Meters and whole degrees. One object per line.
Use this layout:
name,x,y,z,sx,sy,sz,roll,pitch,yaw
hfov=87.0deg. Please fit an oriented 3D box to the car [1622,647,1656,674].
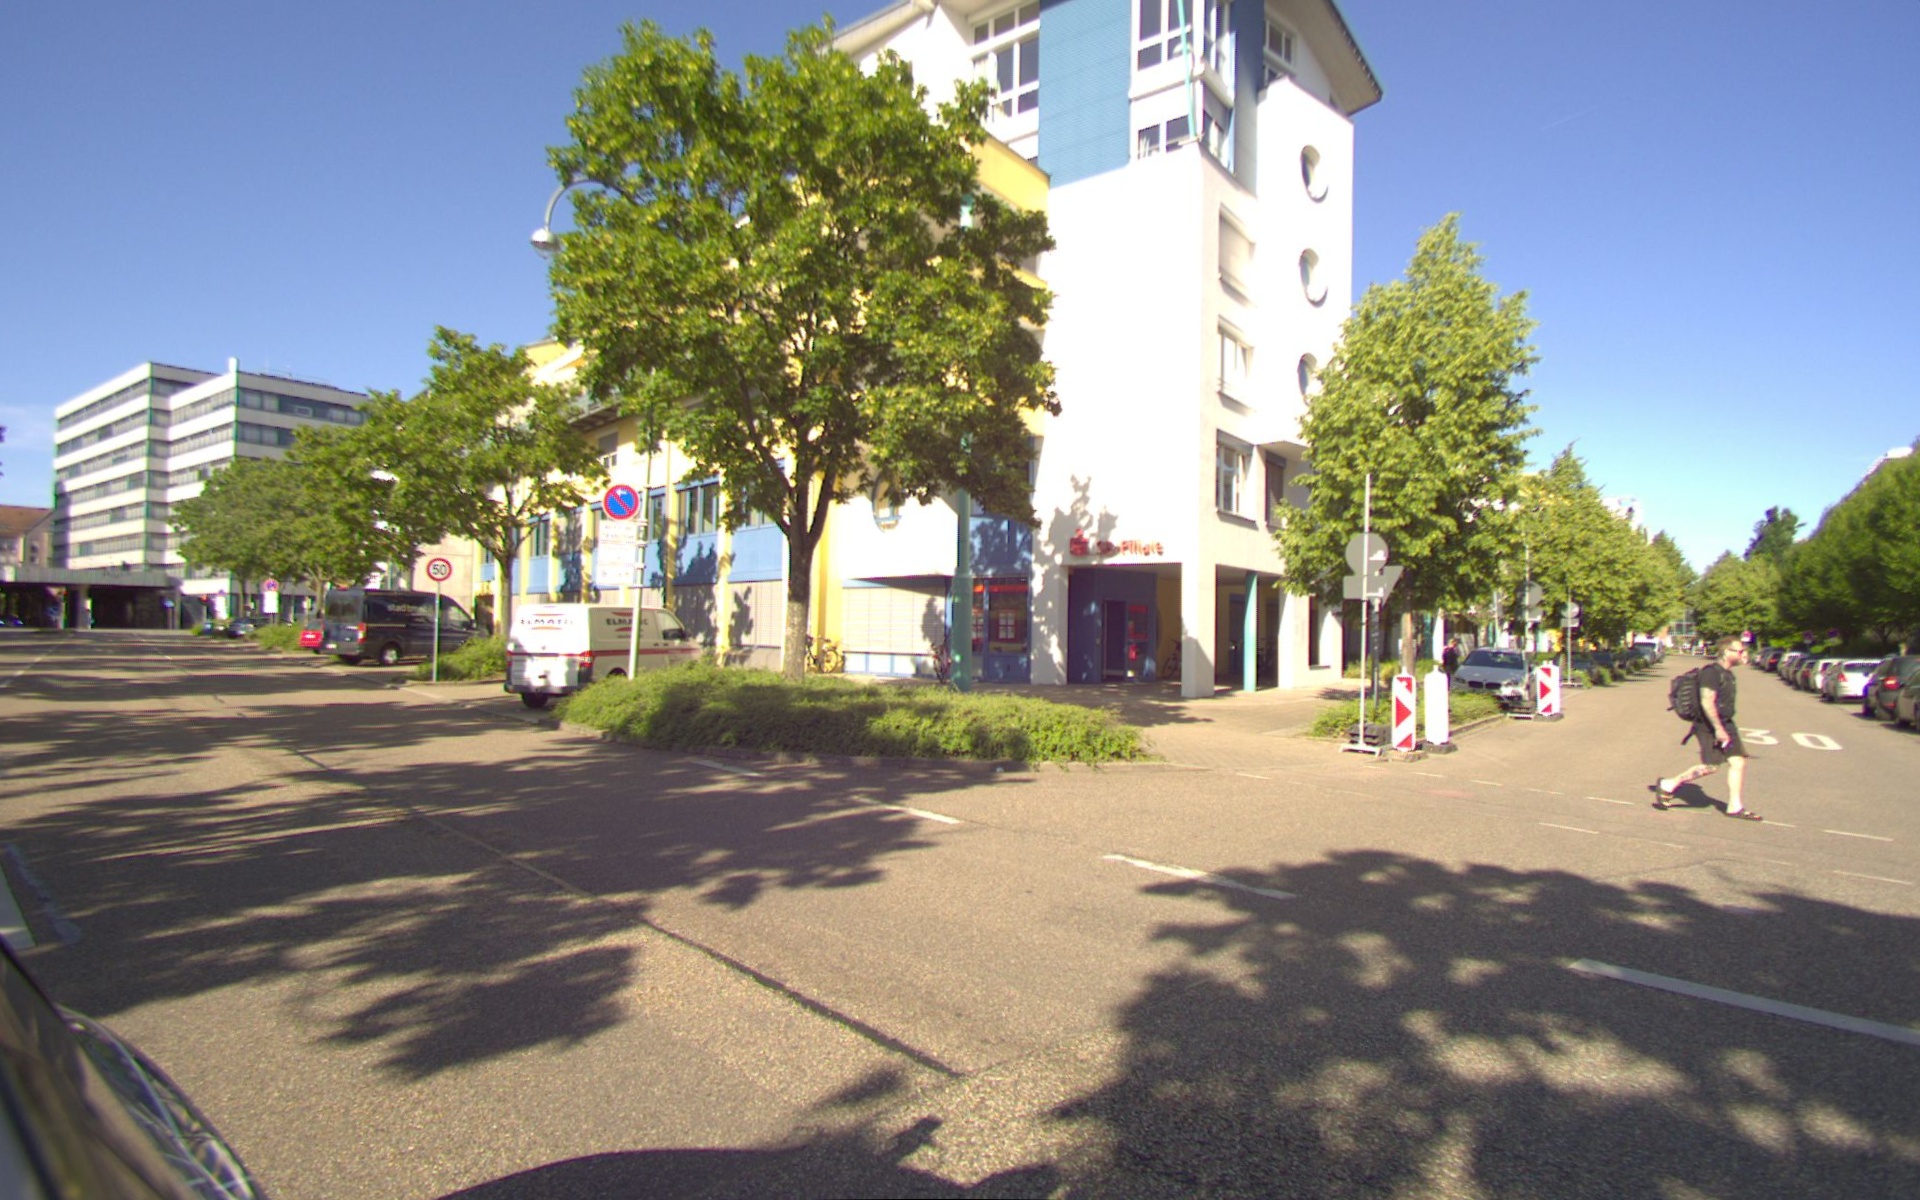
car,48.214,4.277,71.910,1.840,1.819,3.956,0,-3,32

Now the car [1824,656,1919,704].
car,30.748,2.673,34.222,1.933,1.516,3.958,-3,-5,36

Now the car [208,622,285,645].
car,-47.327,2.195,67.202,1.794,1.475,3.980,0,-1,15

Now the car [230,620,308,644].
car,-44.498,2.040,65.248,1.794,1.475,3.980,0,-1,15

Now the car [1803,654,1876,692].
car,37.059,3.054,42.730,1.933,1.516,3.870,-3,-5,36

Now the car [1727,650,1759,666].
car,75.237,5.553,97.295,1.994,1.441,4.591,0,-3,33

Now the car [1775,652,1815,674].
car,60.524,4.550,73.369,1.933,1.516,3.870,-3,-5,36

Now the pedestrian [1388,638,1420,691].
pedestrian,13.209,1.905,30.109,0.718,1.525,0.789,0,-1,35

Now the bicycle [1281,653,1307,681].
bicycle,10.948,2.188,33.180,0.287,0.878,1.782,0,-3,35

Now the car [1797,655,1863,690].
car,39.764,3.285,46.327,1.933,1.516,3.870,-3,-5,36

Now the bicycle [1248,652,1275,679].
bicycle,10.110,2.192,33.877,0.287,0.878,1.782,0,-3,35

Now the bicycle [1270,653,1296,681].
bicycle,10.680,2.201,33.408,0.287,0.878,1.782,0,-3,35

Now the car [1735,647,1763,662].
car,81.413,5.650,104.491,1.995,1.441,3.953,0,-3,34

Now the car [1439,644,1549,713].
car,14.308,2.014,27.019,1.996,1.606,4.196,-1,-2,36

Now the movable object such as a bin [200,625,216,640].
movable object such as a bin,-55.787,2.386,75.085,0.665,1.082,0.805,2,-2,-16

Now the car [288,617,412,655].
car,-25.545,1.493,42.523,1.761,1.487,4.197,-1,-2,26

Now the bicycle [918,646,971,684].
bicycle,-0.377,1.637,25.806,0.490,0.878,1.785,0,-1,30

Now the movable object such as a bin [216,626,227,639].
movable object such as a bin,-54.949,2.446,75.326,0.470,0.967,0.543,0,-1,-12

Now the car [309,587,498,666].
car,-18.589,0.873,34.175,2.172,2.455,5.464,-1,-1,22

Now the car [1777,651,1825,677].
car,51.203,3.901,61.679,1.933,1.516,3.870,-3,-5,36

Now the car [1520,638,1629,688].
car,26.913,2.737,44.381,3.990,2.029,1.977,0,-3,35

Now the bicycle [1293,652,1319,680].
bicycle,11.275,2.148,32.942,0.287,0.878,1.782,0,-3,35

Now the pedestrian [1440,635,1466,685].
pedestrian,15.172,1.824,31.127,0.679,1.500,0.838,0,-3,29

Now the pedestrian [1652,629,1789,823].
pedestrian,7.352,1.175,9.793,1.021,1.739,0.650,0,-4,41

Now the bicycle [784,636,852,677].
bicycle,-4.016,1.595,28.718,1.775,1.106,0.703,4,-4,-40

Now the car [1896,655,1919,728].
car,21.254,1.910,21.175,1.933,1.516,3.958,-3,-5,36

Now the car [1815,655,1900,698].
car,33.647,2.846,38.038,1.933,1.516,3.958,-3,-5,36

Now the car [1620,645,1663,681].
car,37.948,3.456,56.405,1.839,1.819,3.956,0,-1,32

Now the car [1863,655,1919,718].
car,24.525,2.145,25.691,1.933,1.516,3.958,-3,-5,36

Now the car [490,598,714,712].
car,-6.952,1.033,20.287,1.980,2.000,4.750,-1,-2,13

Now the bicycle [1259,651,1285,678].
bicycle,10.370,2.135,33.639,0.287,0.878,1.782,0,-3,35
